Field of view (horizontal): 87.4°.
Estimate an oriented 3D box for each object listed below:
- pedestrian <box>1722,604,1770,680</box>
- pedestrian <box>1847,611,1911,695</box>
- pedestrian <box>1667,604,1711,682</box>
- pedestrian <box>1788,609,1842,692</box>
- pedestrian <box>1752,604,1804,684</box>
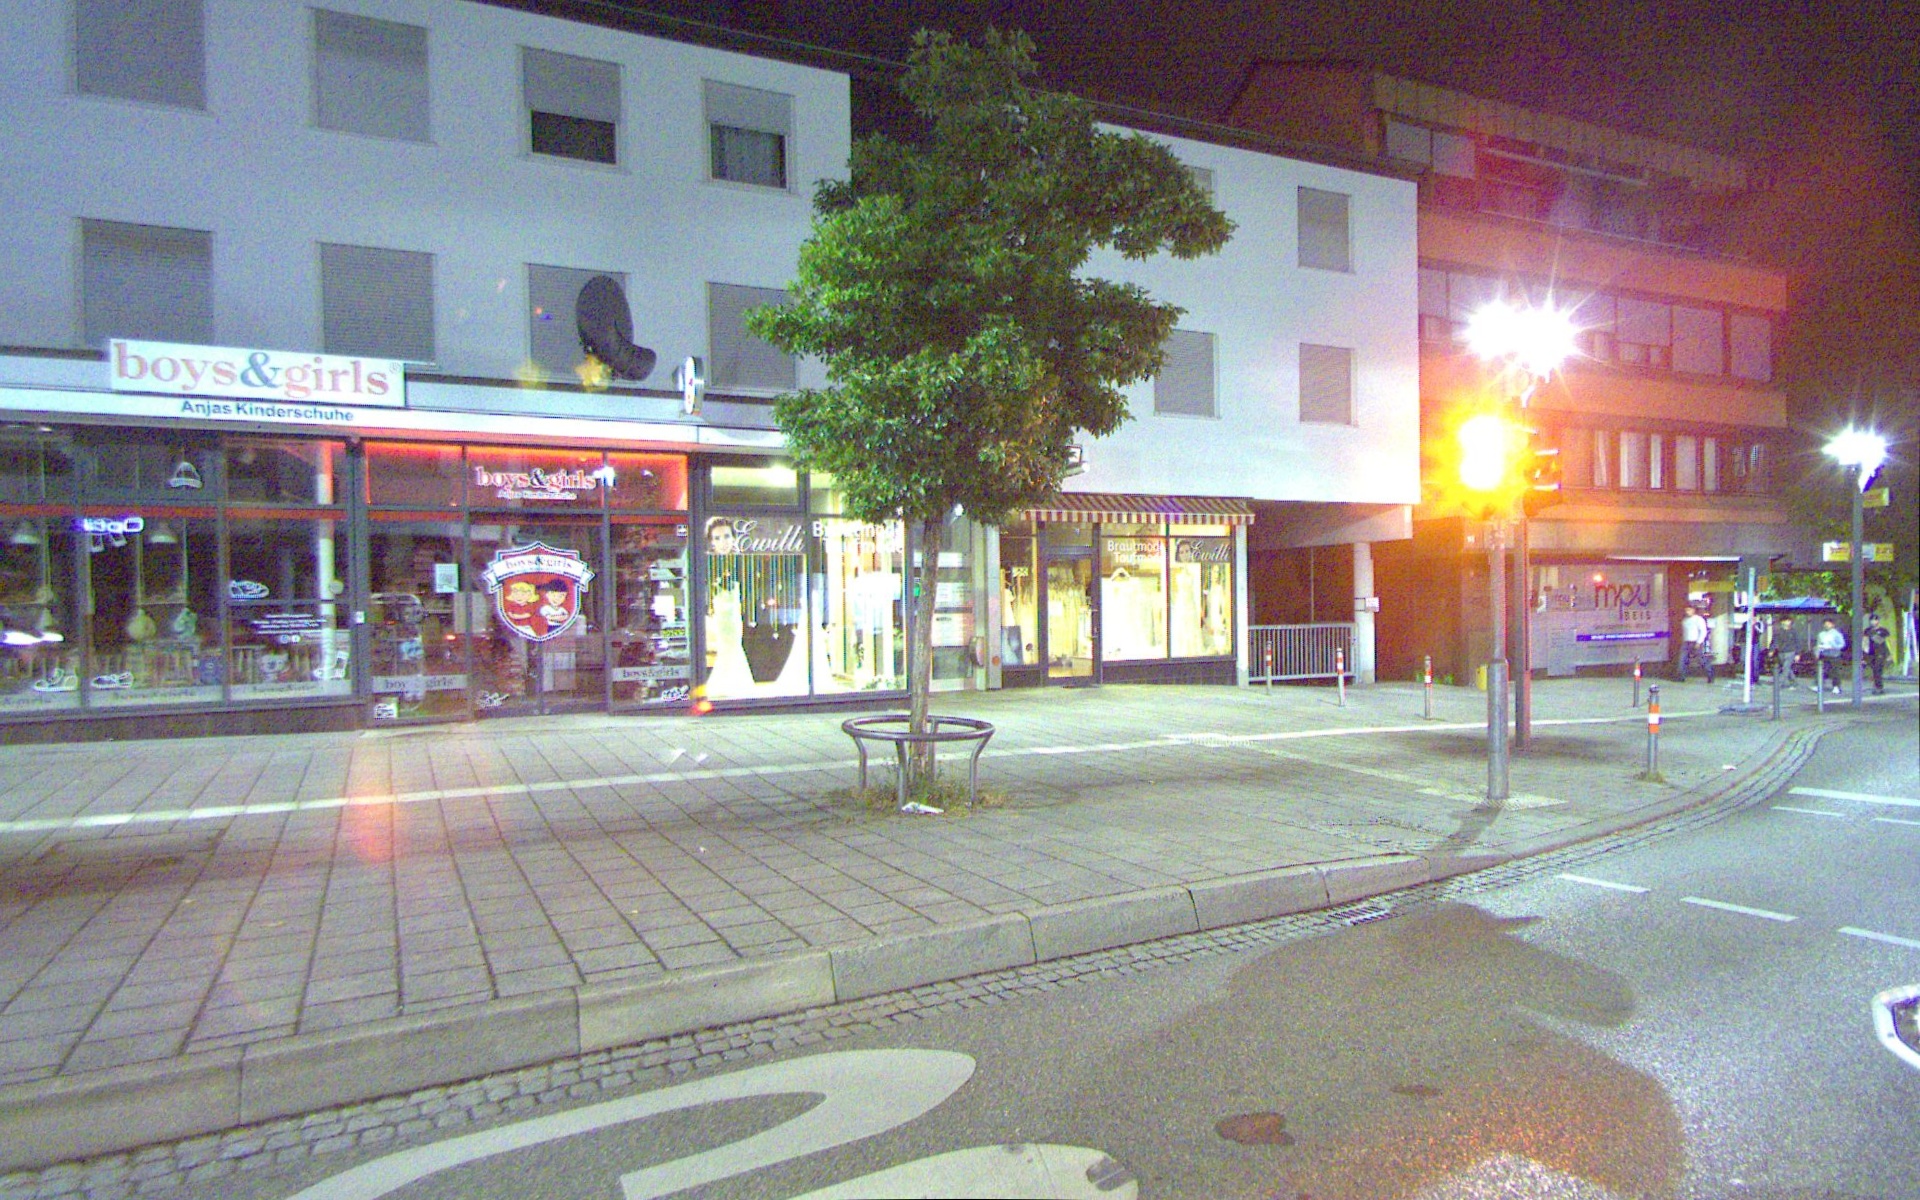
[{"bbox_3d":[19.477,1.032,24.902,0.561,1.819,0.714,3,-1,-23],"label":"pedestrian"},{"bbox_3d":[20.460,1.164,22.364,0.723,1.819,0.717,2,-1,-6],"label":"pedestrian"},{"bbox_3d":[17.328,1.015,23.875,0.566,1.819,0.709,3,-1,-44],"label":"pedestrian"},{"bbox_3d":[19.310,1.129,22.681,0.561,1.819,0.714,3,-1,-23],"label":"pedestrian"},{"bbox_3d":[19.019,1.022,23.365,0.561,1.819,0.714,3,-1,-23],"label":"pedestrian"}]
